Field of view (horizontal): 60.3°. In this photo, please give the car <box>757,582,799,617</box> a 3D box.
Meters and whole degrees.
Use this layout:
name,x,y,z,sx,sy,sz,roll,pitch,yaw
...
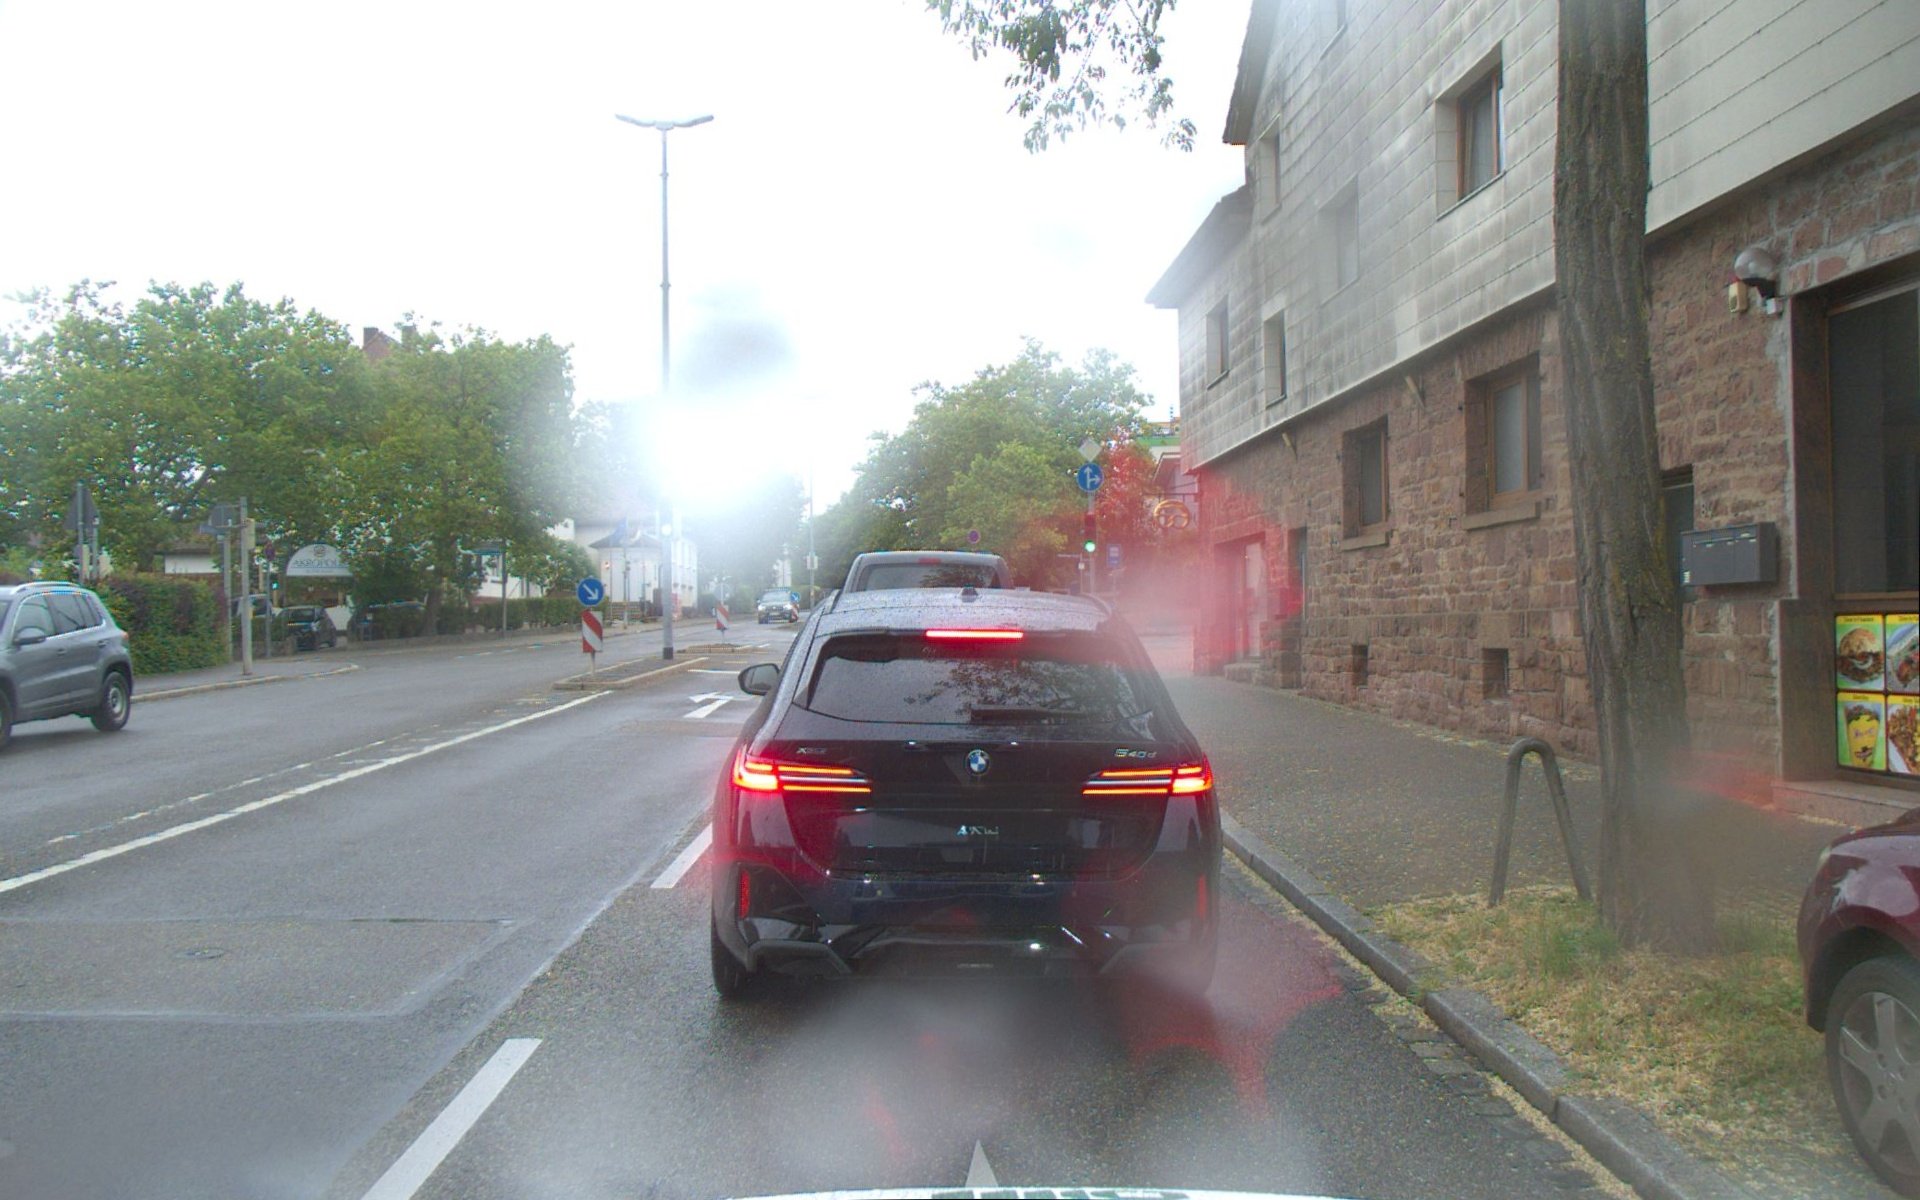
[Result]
name,x,y,z,sx,sy,sz,roll,pitch,yaw
car,-8.989,-0.058,81.950,1.861,1.604,4.499,-1,1,-4

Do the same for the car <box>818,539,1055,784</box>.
name,x,y,z,sx,sy,sz,roll,pitch,yaw
car,-0.293,0.482,14.473,1.776,1.840,3.753,1,0,-4

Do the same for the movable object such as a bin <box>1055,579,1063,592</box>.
name,x,y,z,sx,sy,sz,roll,pitch,yaw
movable object such as a bin,6.887,-1.007,115.399,0.440,0.921,0.463,1,-1,14

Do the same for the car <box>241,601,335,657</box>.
name,x,y,z,sx,sy,sz,roll,pitch,yaw
car,-23.138,0.970,57.093,1.772,1.578,4.000,1,4,-3

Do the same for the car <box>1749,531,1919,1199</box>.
name,x,y,z,sx,sy,sz,roll,pitch,yaw
car,3.057,0.583,2.688,1.578,1.530,3.753,1,-2,-4

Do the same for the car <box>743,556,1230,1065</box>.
name,x,y,z,sx,sy,sz,roll,pitch,yaw
car,-0.020,0.666,6.896,1.494,1.561,3.529,1,0,-4

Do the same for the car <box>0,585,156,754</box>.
name,x,y,z,sx,sy,sz,roll,pitch,yaw
car,-10.275,0.690,17.232,1.870,1.618,4.314,-2,0,-4
